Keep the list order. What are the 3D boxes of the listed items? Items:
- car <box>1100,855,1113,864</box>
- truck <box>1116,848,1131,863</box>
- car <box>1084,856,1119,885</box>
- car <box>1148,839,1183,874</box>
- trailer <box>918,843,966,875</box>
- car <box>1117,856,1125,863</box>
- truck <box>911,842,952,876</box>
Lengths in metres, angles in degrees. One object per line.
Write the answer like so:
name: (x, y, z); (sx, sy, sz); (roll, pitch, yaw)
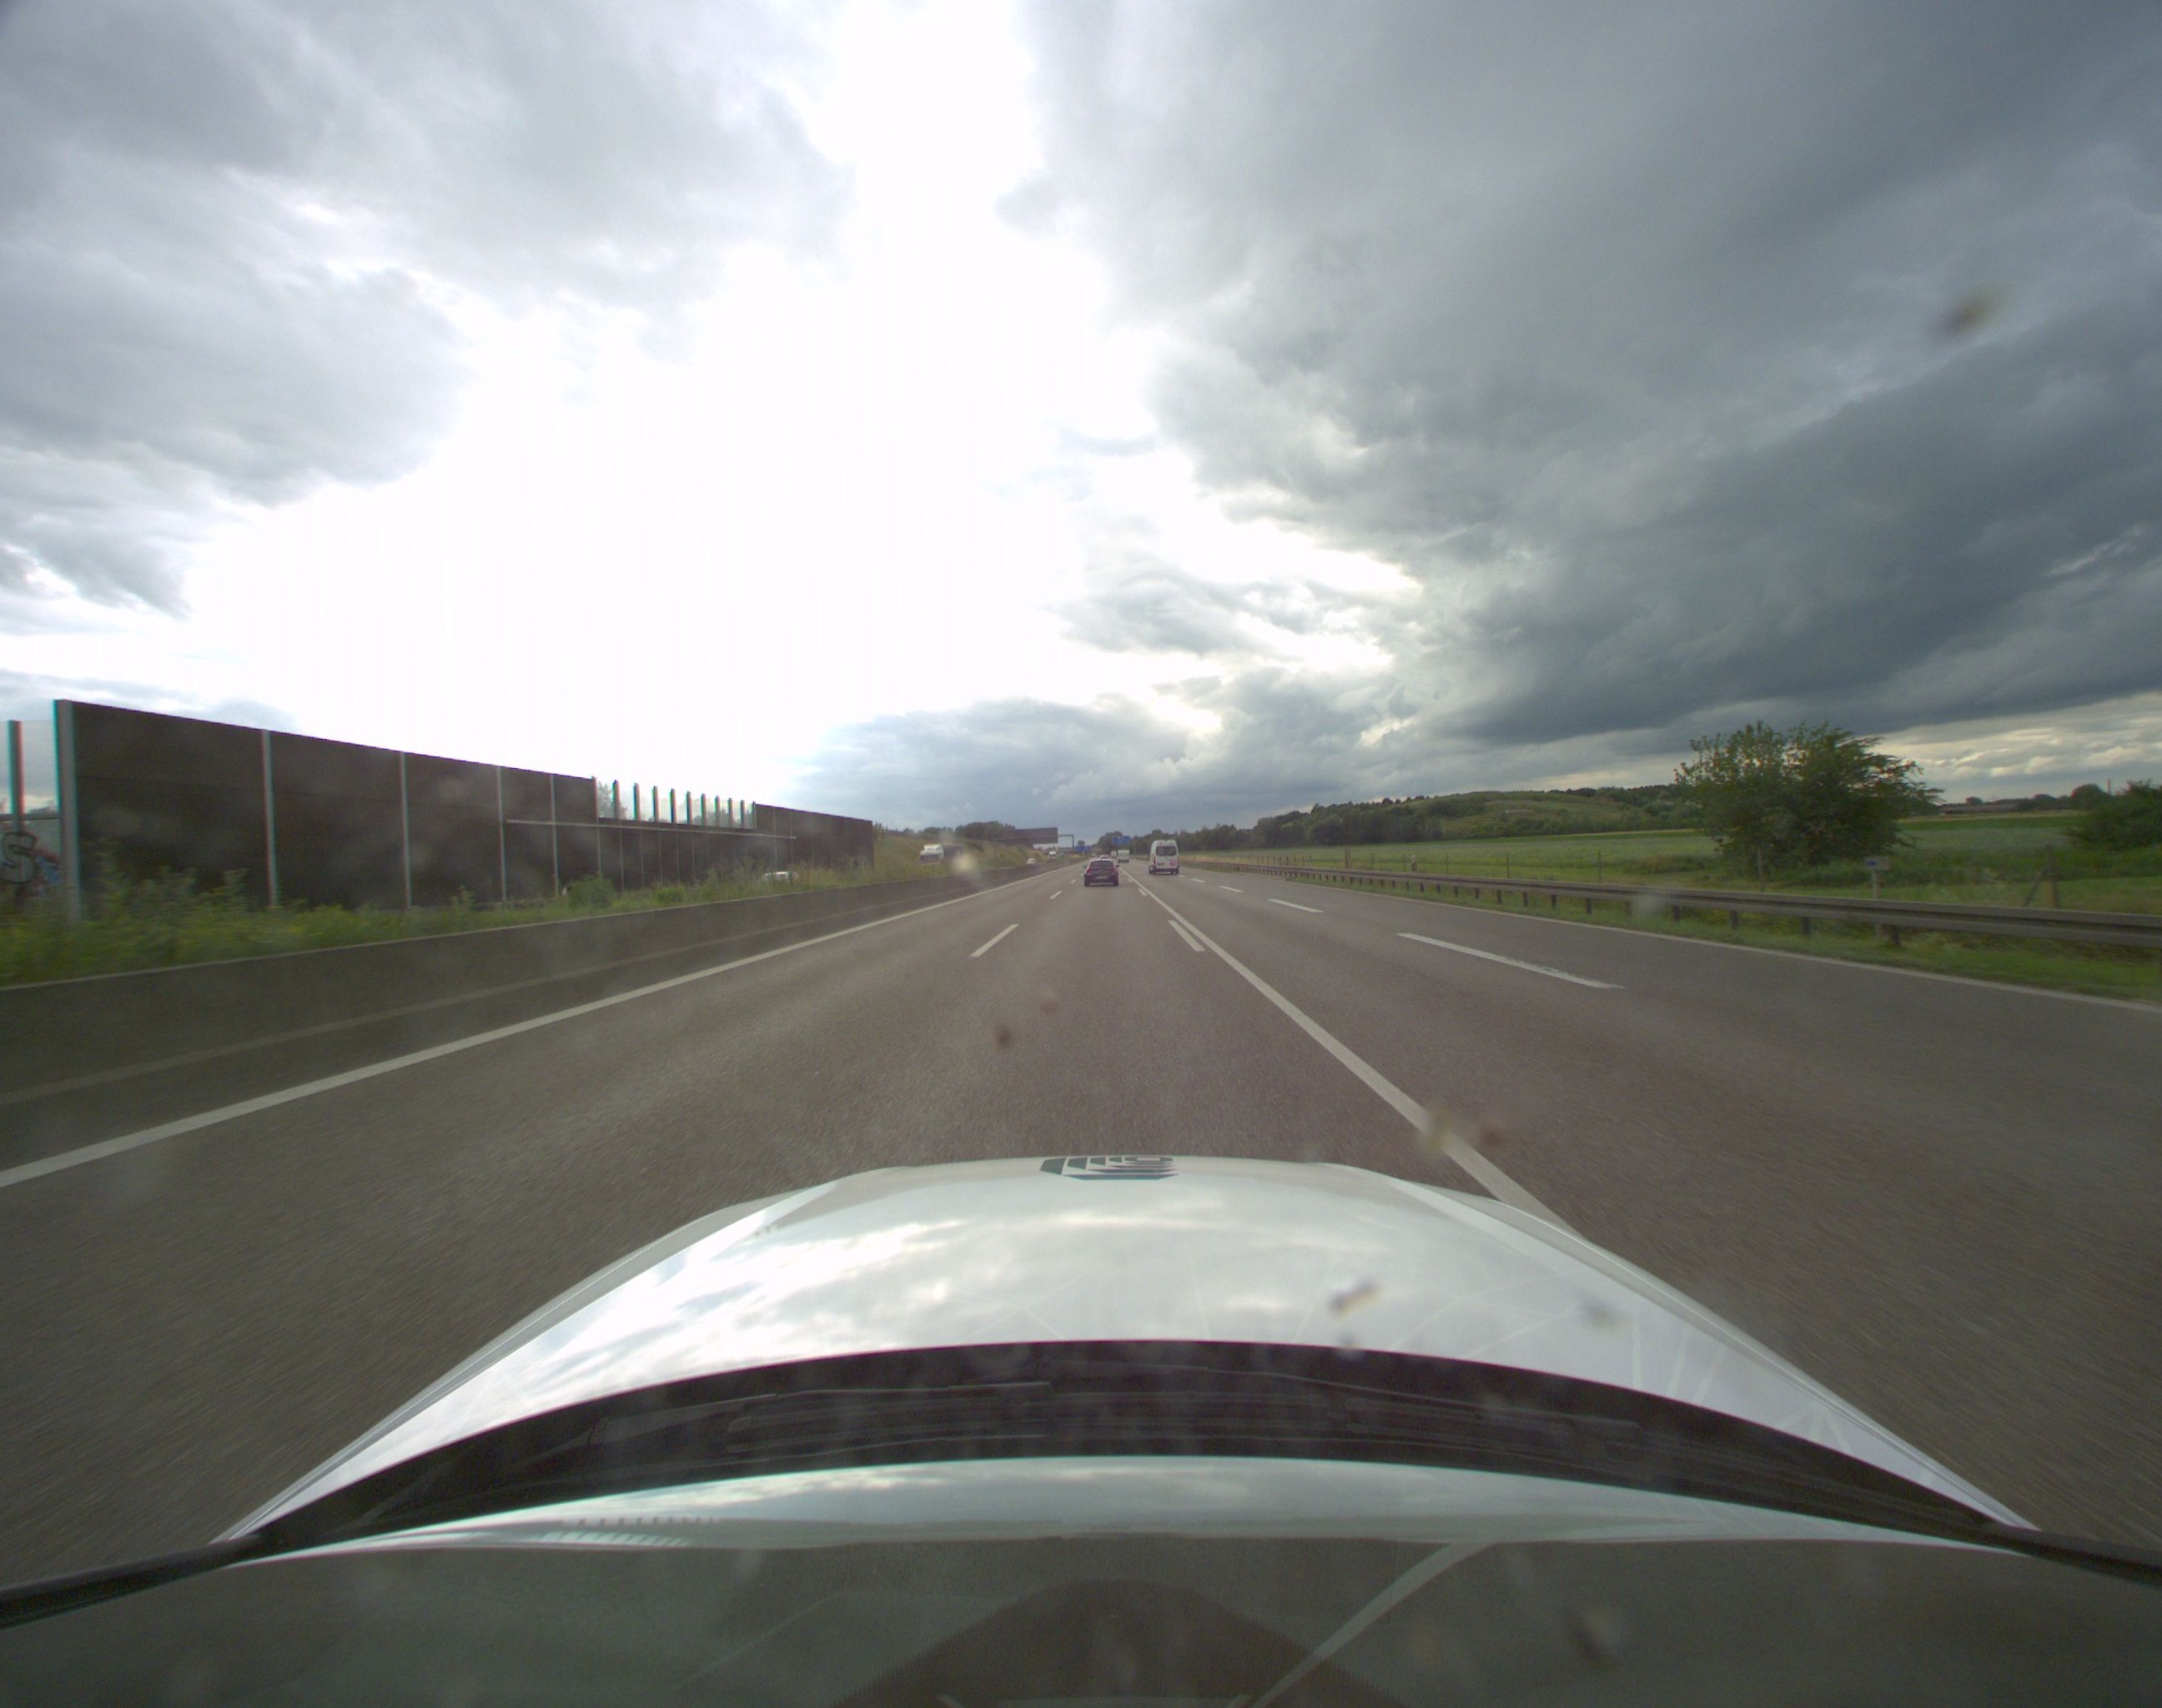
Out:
car: (4.077, 0.935, 130.447); (1.986, 1.298, 4.001); (-3, 0, 1)
truck: (8.713, 0.316, 168.402); (2.700, 2.964, 12.450); (-1, 0, 1)
car: (1.082, 0.844, 42.885); (1.737, 1.389, 4.002); (-1, 0, 2)
car: (6.621, 0.163, 64.451); (2.213, 2.568, 6.258); (-2, 0, 2)
trailer: (-17.953, 0.622, 106.419); (3.657, 3.980, 12.684); (-1, 0, 2)
car: (11.215, 1.511, 226.726); (1.986, 2.014, 4.001); (-2, 0, 1)
truck: (-18.212, 0.611, 99.468); (3.654, 3.948, 6.016); (-1, 0, 2)
